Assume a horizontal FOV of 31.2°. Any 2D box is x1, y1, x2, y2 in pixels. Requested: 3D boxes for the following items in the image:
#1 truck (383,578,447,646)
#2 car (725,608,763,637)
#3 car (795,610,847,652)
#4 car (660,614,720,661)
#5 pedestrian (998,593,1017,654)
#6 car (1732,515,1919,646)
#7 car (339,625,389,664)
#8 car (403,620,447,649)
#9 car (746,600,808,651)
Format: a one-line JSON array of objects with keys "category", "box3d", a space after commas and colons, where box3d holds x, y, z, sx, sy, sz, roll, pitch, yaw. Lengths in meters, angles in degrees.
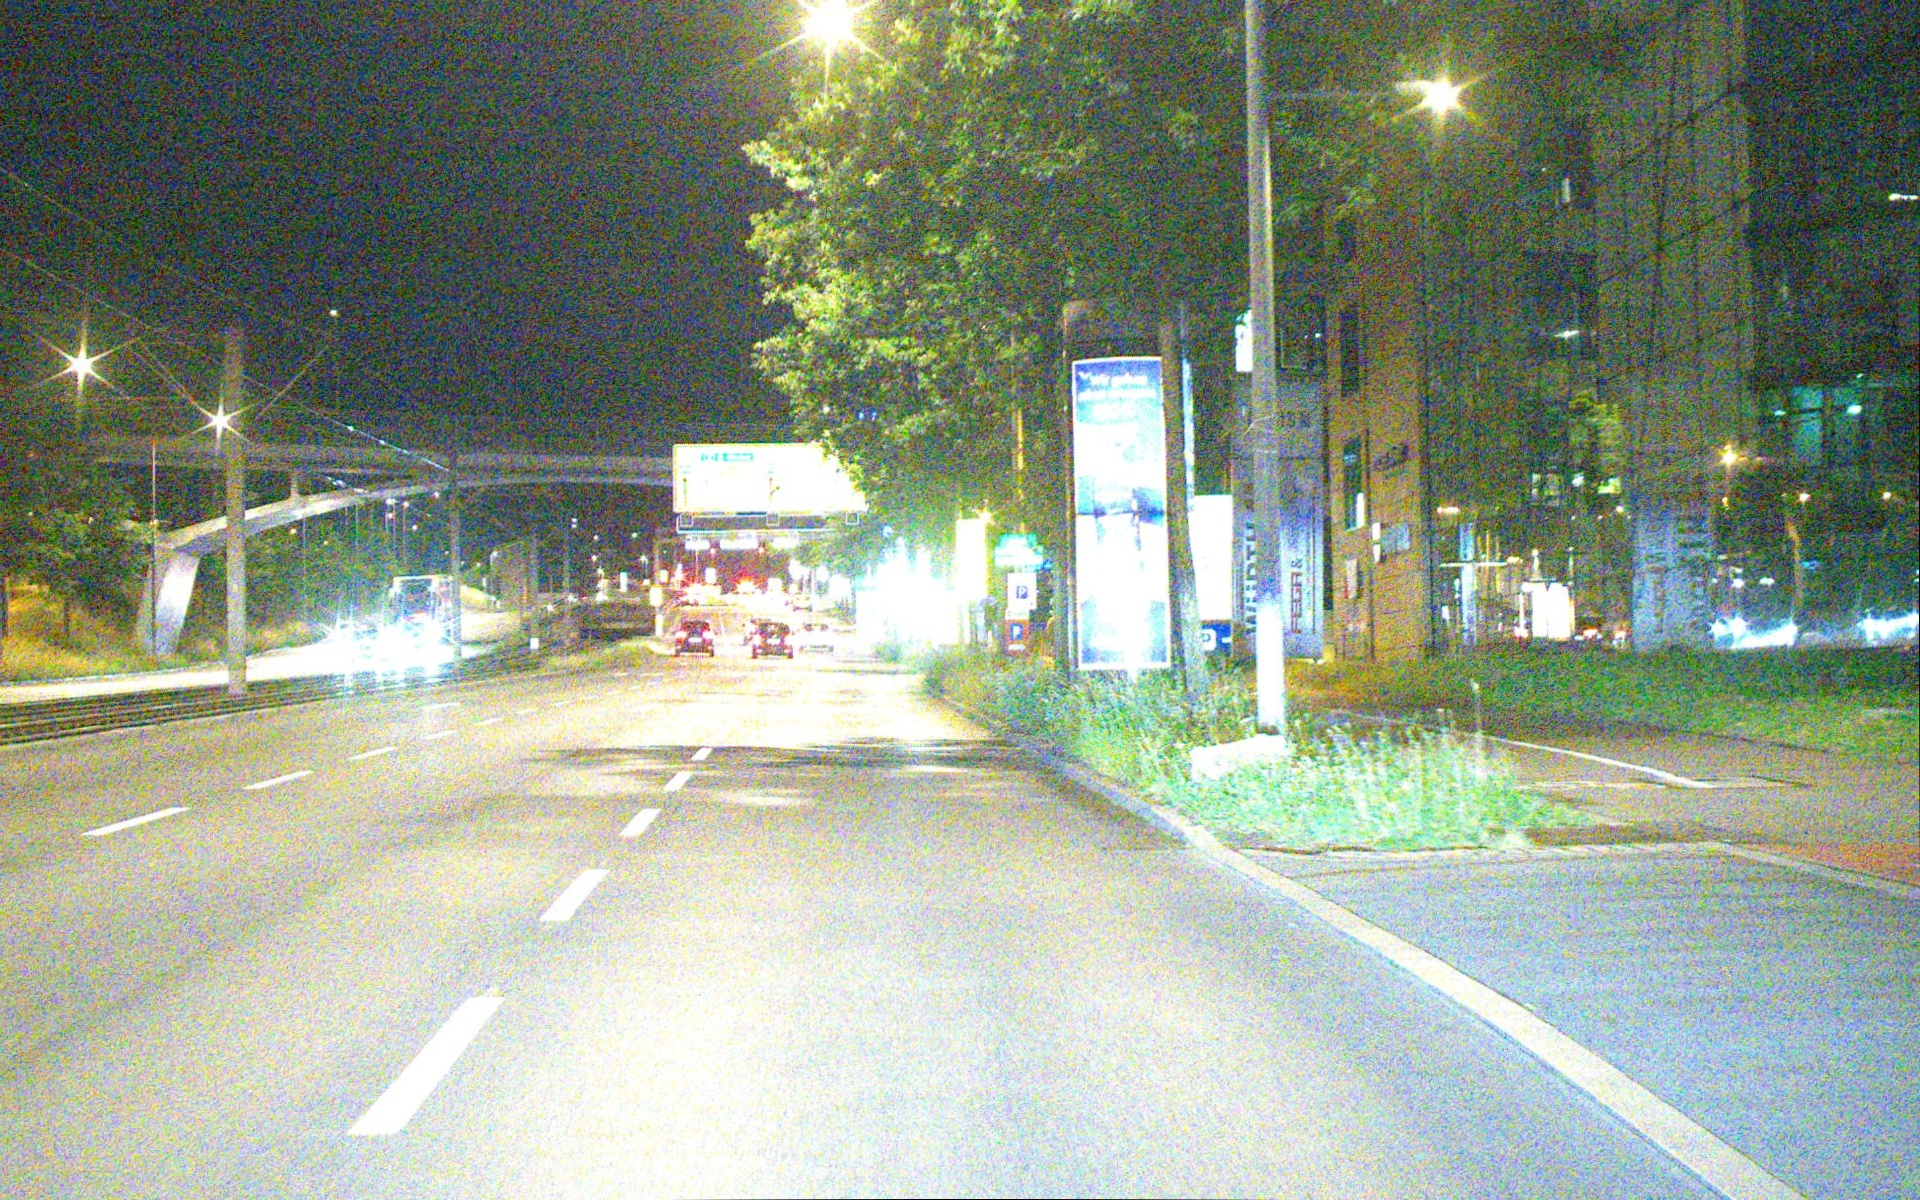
[{"category": "truck", "box3d": [-31.234, 0.652, 197.156, 3.040, 3.806, 4.935, 0, 0, -2]}, {"category": "car", "box3d": [-11.904, 1.256, 189.782, 1.993, 1.548, 4.000, -1, 0, -2]}, {"category": "car", "box3d": [-7.145, 1.584, 177.576, 2.427, 2.106, 4.826, 0, 0, 1]}, {"category": "car", "box3d": [-12.220, 1.684, 155.849, 2.262, 2.007, 4.826, 0, 0, 1]}, {"category": "pedestrian", "box3d": [1.897, 0.927, 136.935, 0.745, 2.427, 0.779, 0, 0, 1]}, {"category": "car", "box3d": [13.478, -0.300, 50.420, 3.763, 1.856, 2.000, 0, 0, -25]}, {"category": "car", "box3d": [-27.818, 2.046, 160.457, 1.863, 1.744, 3.701, 0, 0, -3]}, {"category": "car", "box3d": [-28.484, 1.822, 183.088, 1.910, 1.469, 3.772, 0, 0, -3]}, {"category": "car", "box3d": [-7.959, 1.090, 149.913, 2.356, 2.122, 4.826, 0, 0, 1]}]
